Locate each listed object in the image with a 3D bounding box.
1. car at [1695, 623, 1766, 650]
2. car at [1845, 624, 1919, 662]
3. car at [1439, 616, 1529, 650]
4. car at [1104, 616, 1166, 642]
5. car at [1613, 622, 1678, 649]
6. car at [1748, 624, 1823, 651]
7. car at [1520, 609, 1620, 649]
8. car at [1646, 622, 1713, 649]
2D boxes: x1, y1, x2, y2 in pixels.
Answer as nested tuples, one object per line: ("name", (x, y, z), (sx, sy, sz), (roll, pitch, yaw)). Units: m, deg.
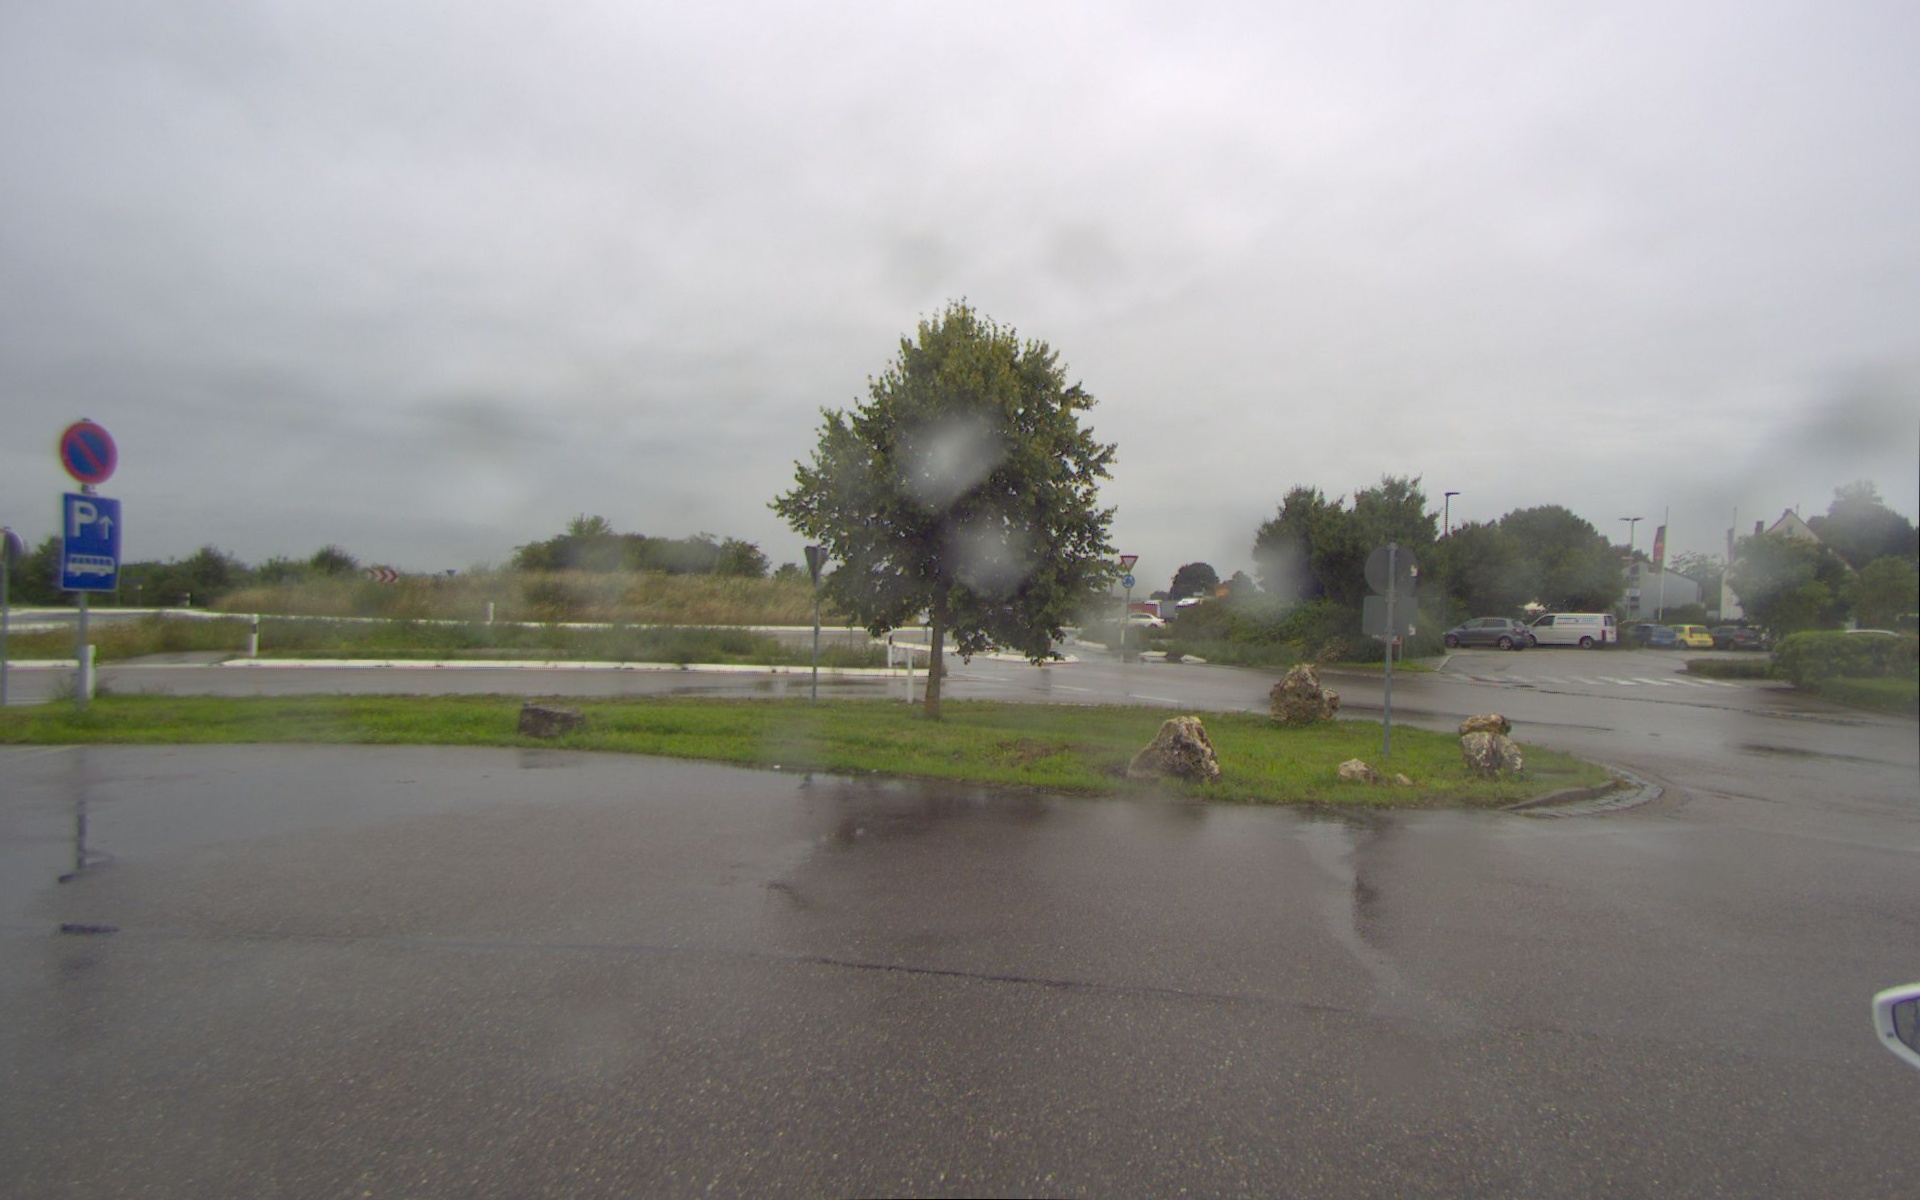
("car", (45.705, 2.144, 59.652), (1.554, 1.477, 3.682), (1, 0, 4))
("car", (39.964, 1.792, 42.103), (1.704, 1.517, 4.140), (1, -1, -40))
("car", (25.954, 1.597, 49.842), (1.439, 1.571, 3.700), (1, 0, -40))
("car", (12.954, 2.130, 74.510), (4.281, 1.782, 1.749), (1, -1, -1))
("car", (40.531, 2.098, 59.497), (1.525, 1.477, 3.682), (1, 0, 4))
("car", (48.786, 2.186, 59.466), (1.554, 1.477, 3.682), (1, 0, 4))
("car", (33.904, 1.576, 55.961), (1.631, 2.060, 4.482), (1, 0, -40))
("car", (43.043, 2.117, 60.208), (1.554, 1.477, 3.682), (1, 0, 4))
